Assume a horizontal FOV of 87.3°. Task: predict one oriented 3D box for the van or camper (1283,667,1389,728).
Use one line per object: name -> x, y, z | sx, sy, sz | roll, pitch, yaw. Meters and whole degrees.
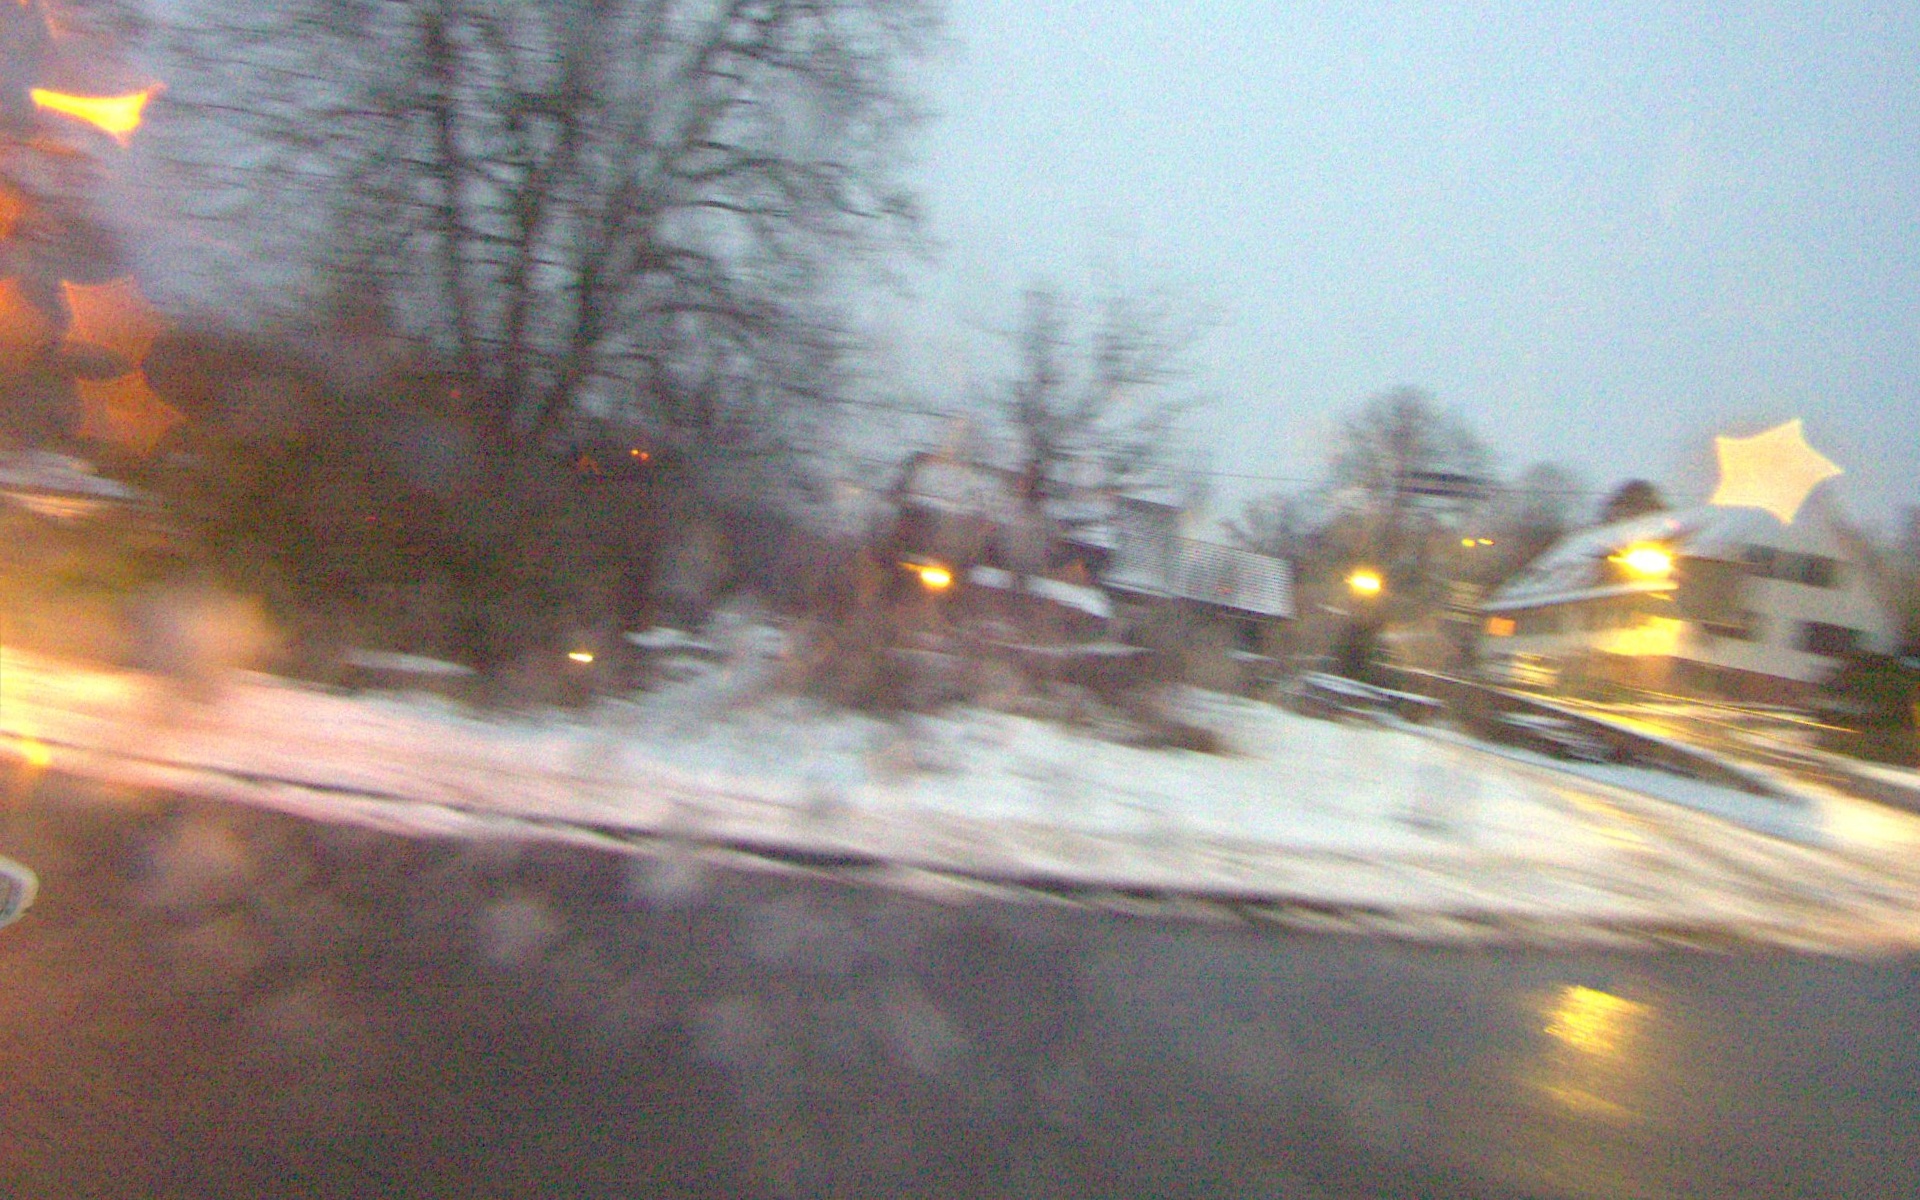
van or camper -> 9.313, 2.375, 25.140 | 1.264, 1.113, 3.275 | 11, -2, 1
